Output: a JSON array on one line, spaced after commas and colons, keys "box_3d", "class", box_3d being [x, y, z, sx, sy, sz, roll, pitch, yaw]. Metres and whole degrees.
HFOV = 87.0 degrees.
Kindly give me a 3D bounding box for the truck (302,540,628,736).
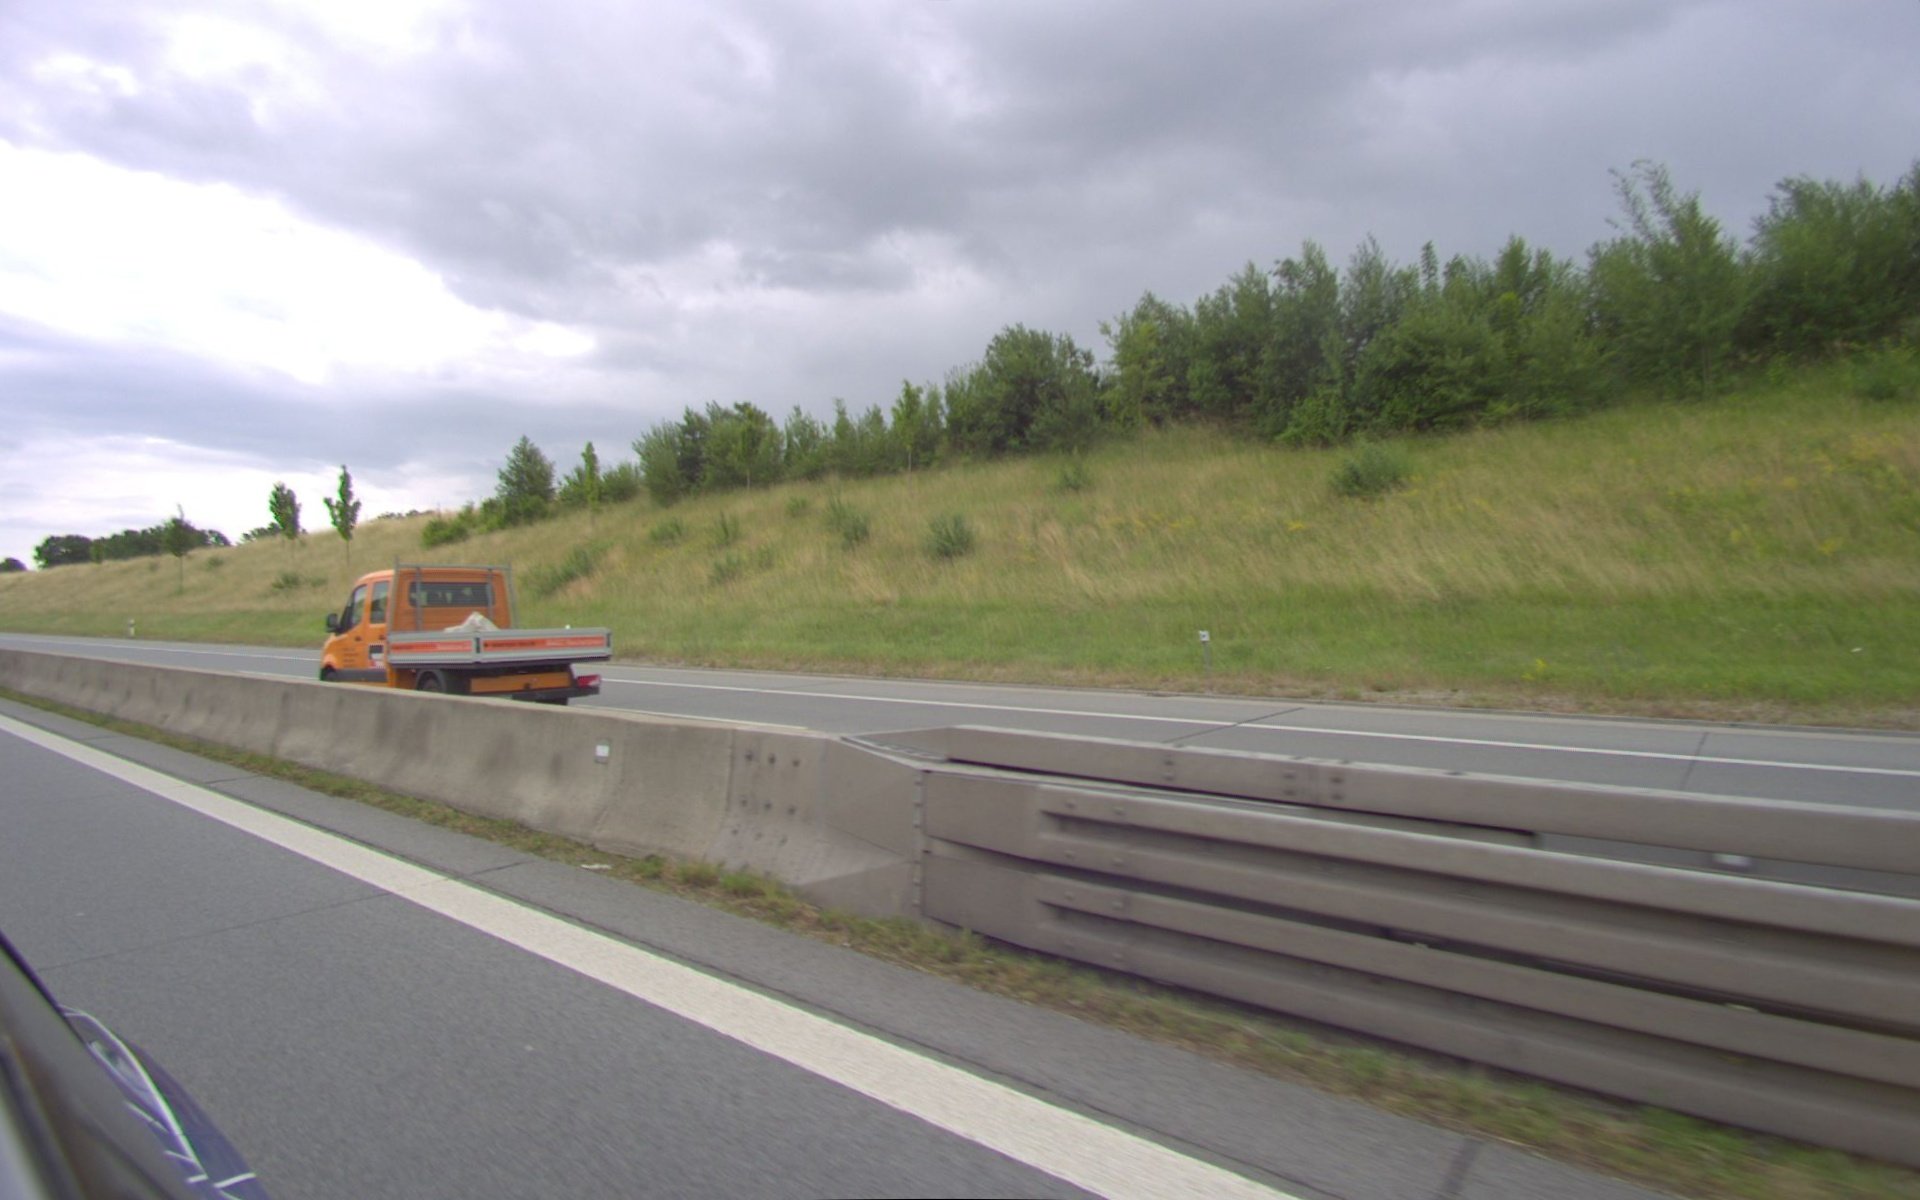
[{"box_3d": [-8.017, 0.551, 15.984, 6.548, 2.529, 2.168, -1, -1, 40], "class": "truck"}]
